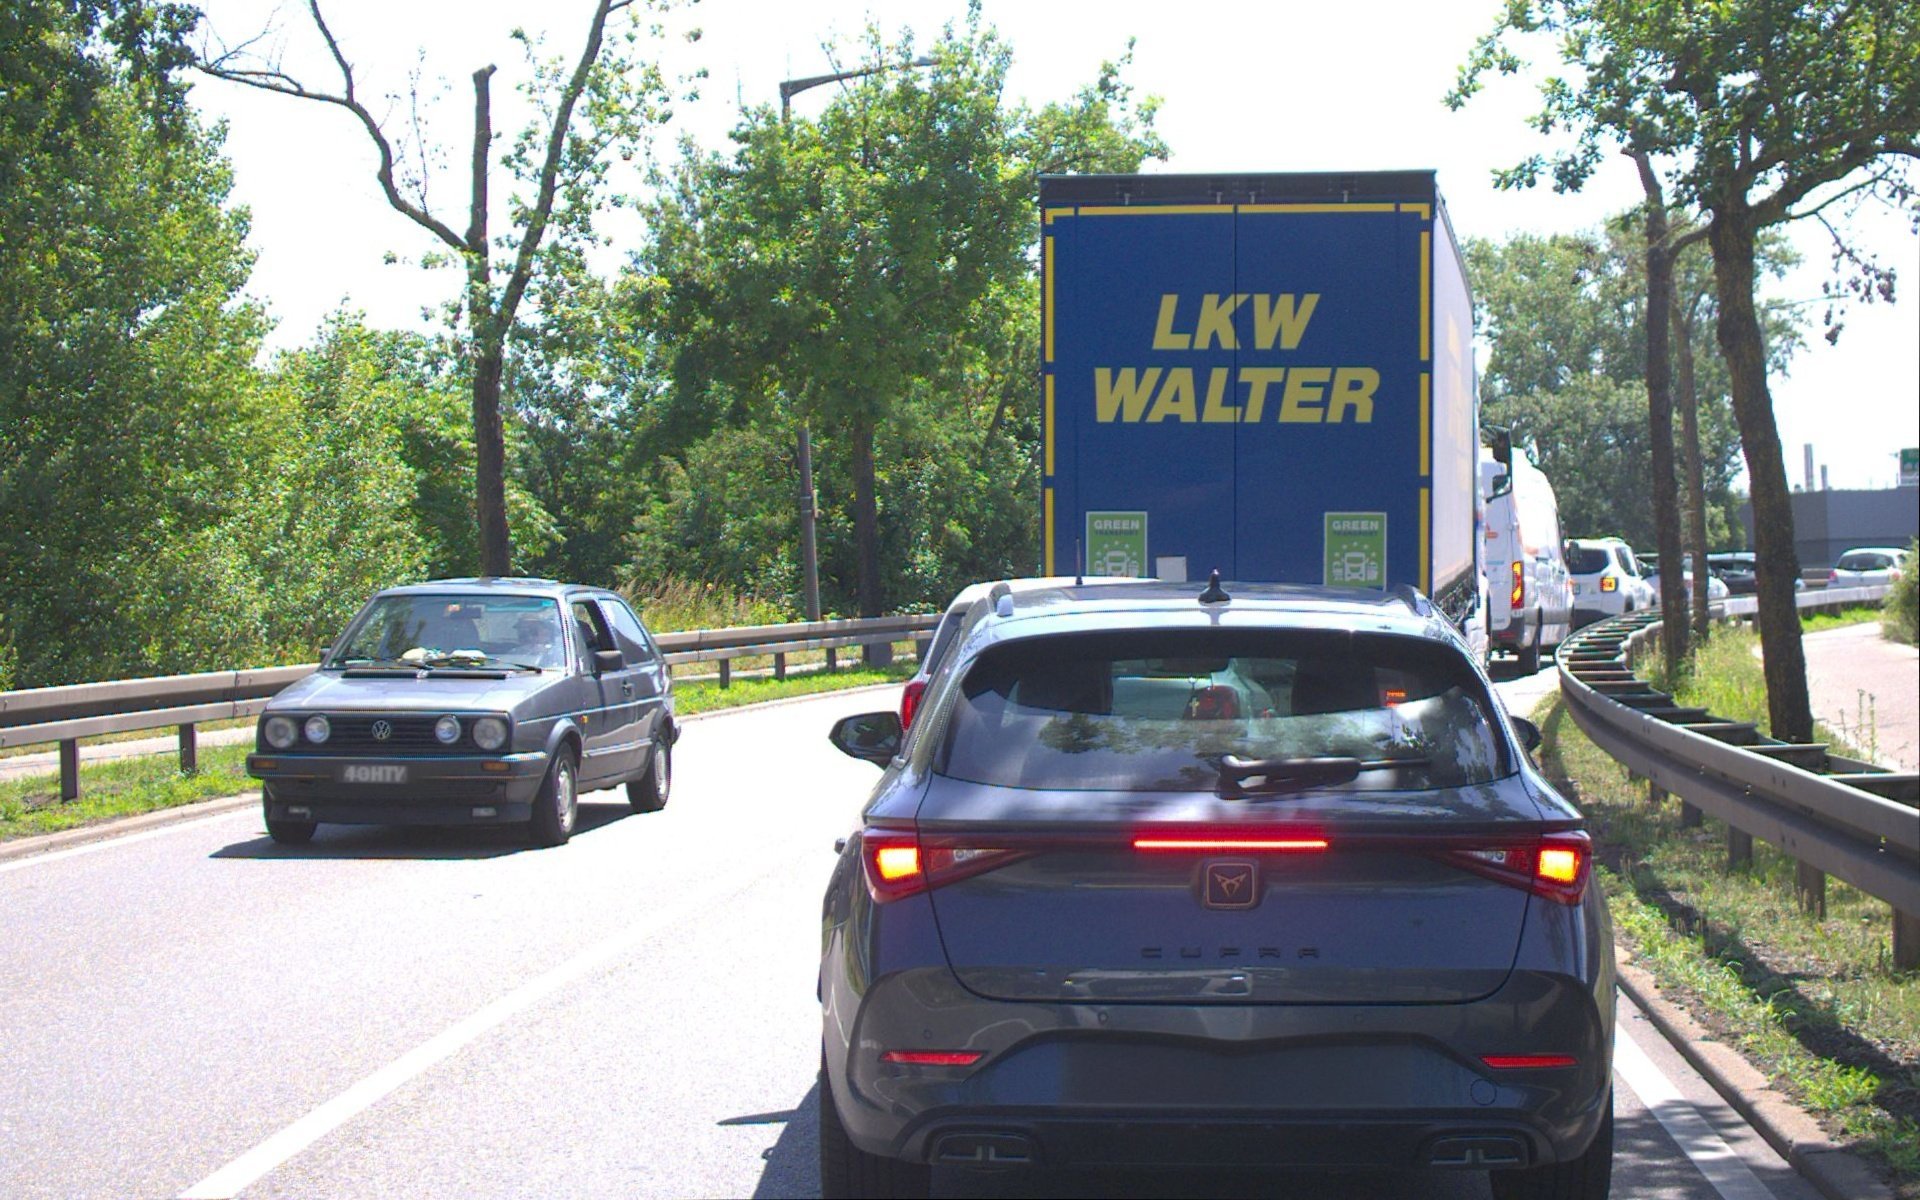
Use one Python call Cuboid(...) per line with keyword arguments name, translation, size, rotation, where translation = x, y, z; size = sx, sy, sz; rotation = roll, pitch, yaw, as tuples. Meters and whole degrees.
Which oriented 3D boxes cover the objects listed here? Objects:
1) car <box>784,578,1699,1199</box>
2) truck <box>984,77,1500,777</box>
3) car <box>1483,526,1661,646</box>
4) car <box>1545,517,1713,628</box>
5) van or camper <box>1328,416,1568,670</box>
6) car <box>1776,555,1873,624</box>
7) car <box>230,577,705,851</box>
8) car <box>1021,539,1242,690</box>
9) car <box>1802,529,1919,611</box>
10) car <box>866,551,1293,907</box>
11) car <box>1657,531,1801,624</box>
Cuboid(name="car", translation=(0.512, 0.673, 8.518), size=(1.744, 1.427, 3.880), rotation=(0, 1, -1))
Cuboid(name="truck", translation=(3.089, -1.193, 30.301), size=(2.951, 4.433, 16.791), rotation=(0, 1, 10))
Cuboid(name="car", translation=(9.233, -0.230, 51.621), size=(1.995, 1.706, 4.616), rotation=(1, 1, 18))
Cuboid(name="car", translation=(11.394, -0.475, 58.313), size=(1.996, 1.802, 4.840), rotation=(1, 1, 21))
Cuboid(name="van or camper", translation=(6.304, -0.713, 43.759), size=(2.468, 2.988, 6.082), rotation=(0, 1, 13))
Cuboid(name="car", translation=(22.694, -0.289, 90.125), size=(1.748, 1.757, 4.431), rotation=(1, 1, 24))
Cuboid(name="car", translation=(-2.673, 0.567, 19.504), size=(1.557, 1.367, 3.887), rotation=(0, 1, 9))
Cuboid(name="car", translation=(2.185, 0.145, 42.613), size=(1.747, 1.757, 4.385), rotation=(1, 1, 16))
Cuboid(name="car", translation=(20.131, -0.672, 76.431), size=(1.996, 1.762, 4.749), rotation=(1, 1, 23))
Cuboid(name="car", translation=(0.543, 0.527, 16.659), size=(1.809, 1.503, 4.000), rotation=(0, 1, 1))
Cuboid(name="car", translation=(14.834, -0.442, 66.133), size=(1.996, 1.711, 4.863), rotation=(1, 1, 21))
